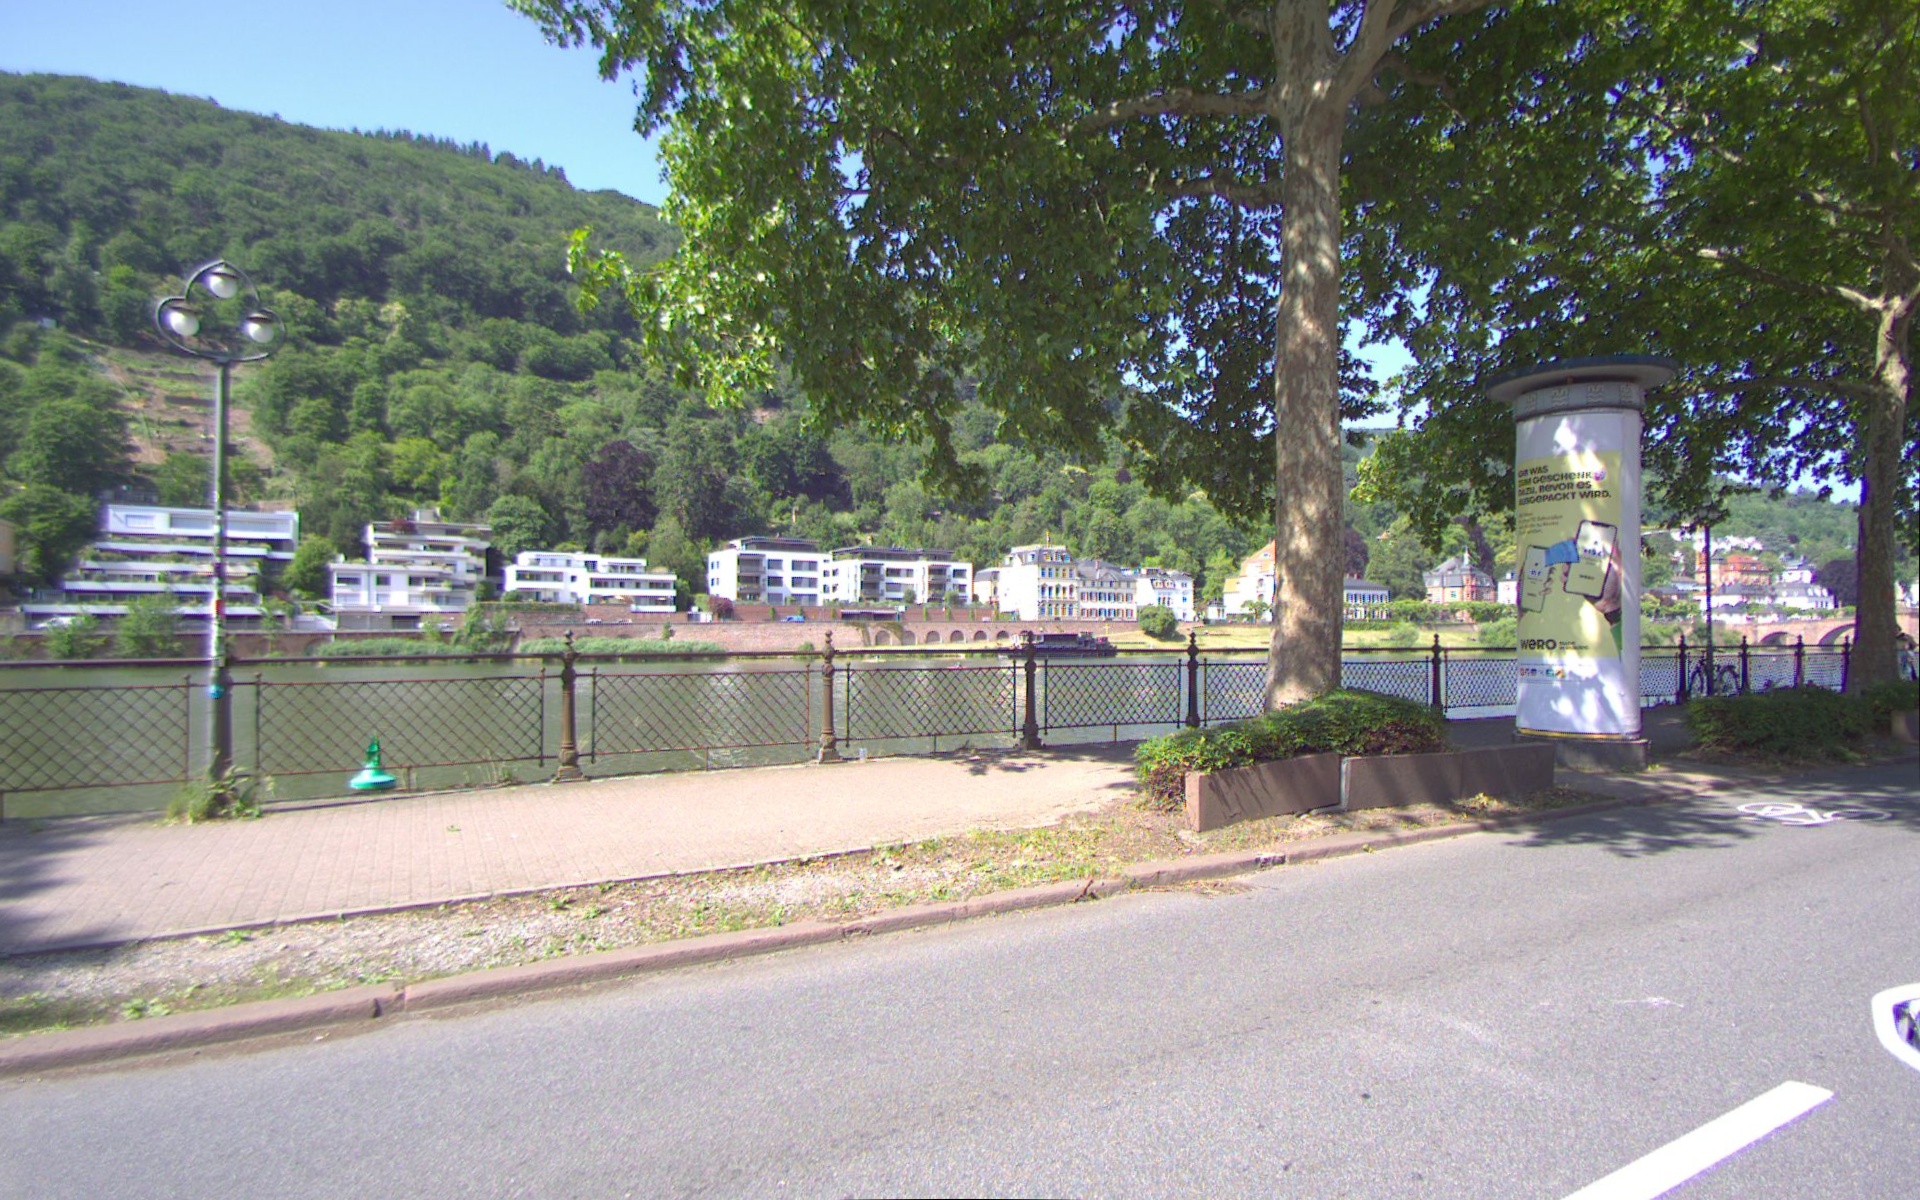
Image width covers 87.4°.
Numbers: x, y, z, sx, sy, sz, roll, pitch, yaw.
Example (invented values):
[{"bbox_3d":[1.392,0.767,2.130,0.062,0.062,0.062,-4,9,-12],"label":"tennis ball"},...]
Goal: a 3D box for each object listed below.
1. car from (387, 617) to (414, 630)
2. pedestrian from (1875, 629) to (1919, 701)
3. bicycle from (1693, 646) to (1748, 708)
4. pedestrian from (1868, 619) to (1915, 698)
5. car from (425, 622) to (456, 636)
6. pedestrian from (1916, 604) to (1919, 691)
[{"bbox_3d":[-94.867,4.034,170.416,3.953,2.041,1.984,-1,1,-30],"label":"car"},{"bbox_3d":[18.179,1.256,19.486,0.411,1.380,0.477,1,-2,-26],"label":"pedestrian"},{"bbox_3d":[14.358,1.432,18.957,1.281,1.106,0.357,1,2,-31],"label":"bicycle"},{"bbox_3d":[20.553,1.274,22.168,0.577,1.708,0.598,1,-2,-31],"label":"pedestrian"},{"bbox_3d":[-76.606,4.258,148.029,3.953,2.040,1.984,2,0,-30],"label":"car"},{"bbox_3d":[21.274,1.044,21.867,0.431,1.912,0.531,1,1,-30],"label":"pedestrian"}]
